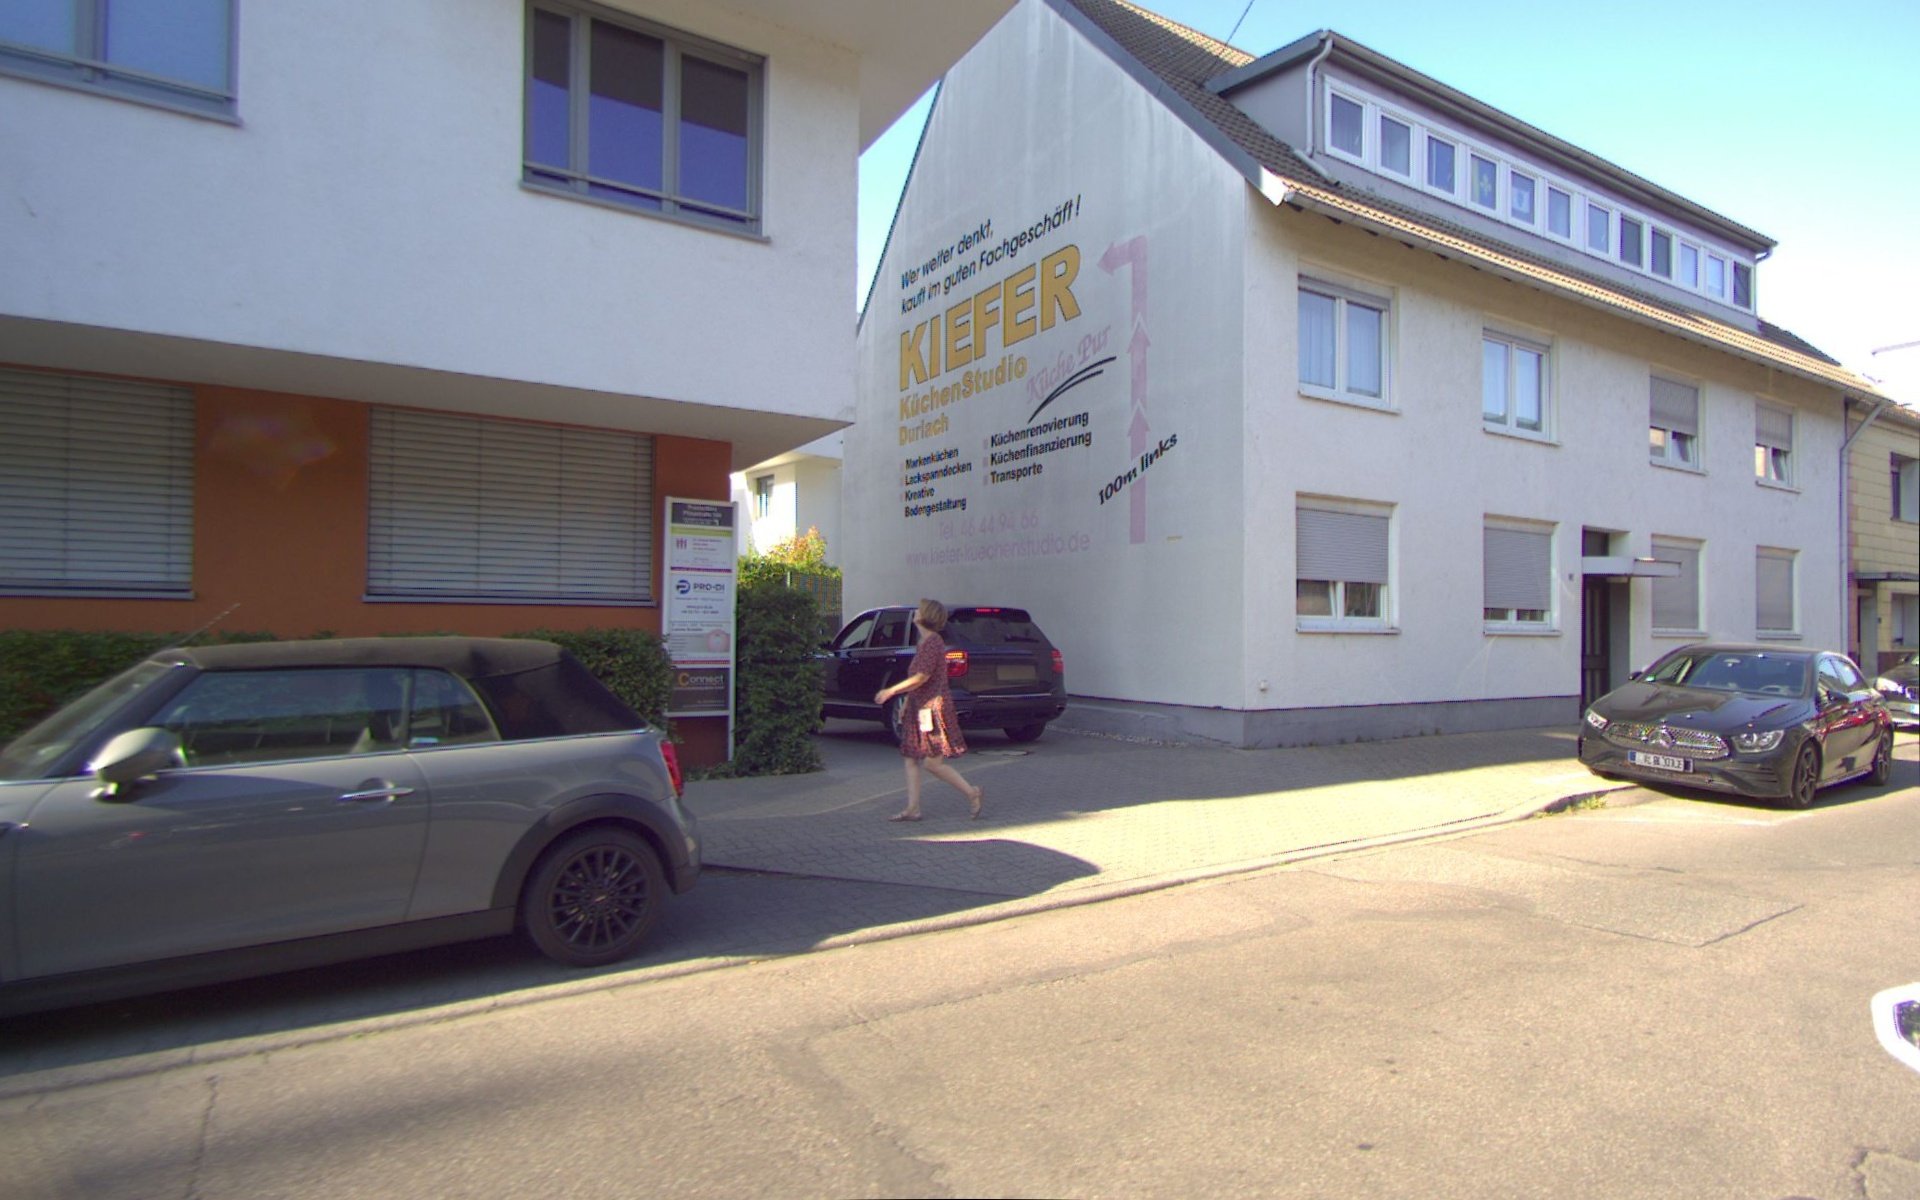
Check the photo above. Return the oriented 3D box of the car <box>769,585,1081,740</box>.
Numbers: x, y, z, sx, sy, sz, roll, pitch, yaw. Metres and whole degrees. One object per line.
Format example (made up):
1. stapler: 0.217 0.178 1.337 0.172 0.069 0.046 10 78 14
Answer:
1. car: -0.672 0.671 13.250 1.993 1.660 4.578 2 0 -33

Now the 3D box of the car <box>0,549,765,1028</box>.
1. car: -3.021 0.656 4.482 3.817 1.556 1.657 3 2 -34

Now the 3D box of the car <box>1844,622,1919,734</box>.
1. car: 16.285 1.276 16.181 4.288 1.608 1.847 2 3 -32

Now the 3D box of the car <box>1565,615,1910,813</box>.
1. car: 8.236 1.087 10.514 4.295 1.555 1.672 3 2 -37

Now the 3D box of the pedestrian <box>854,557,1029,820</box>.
1. pedestrian: -0.176 0.644 7.700 1.111 1.843 0.862 4 4 -9
